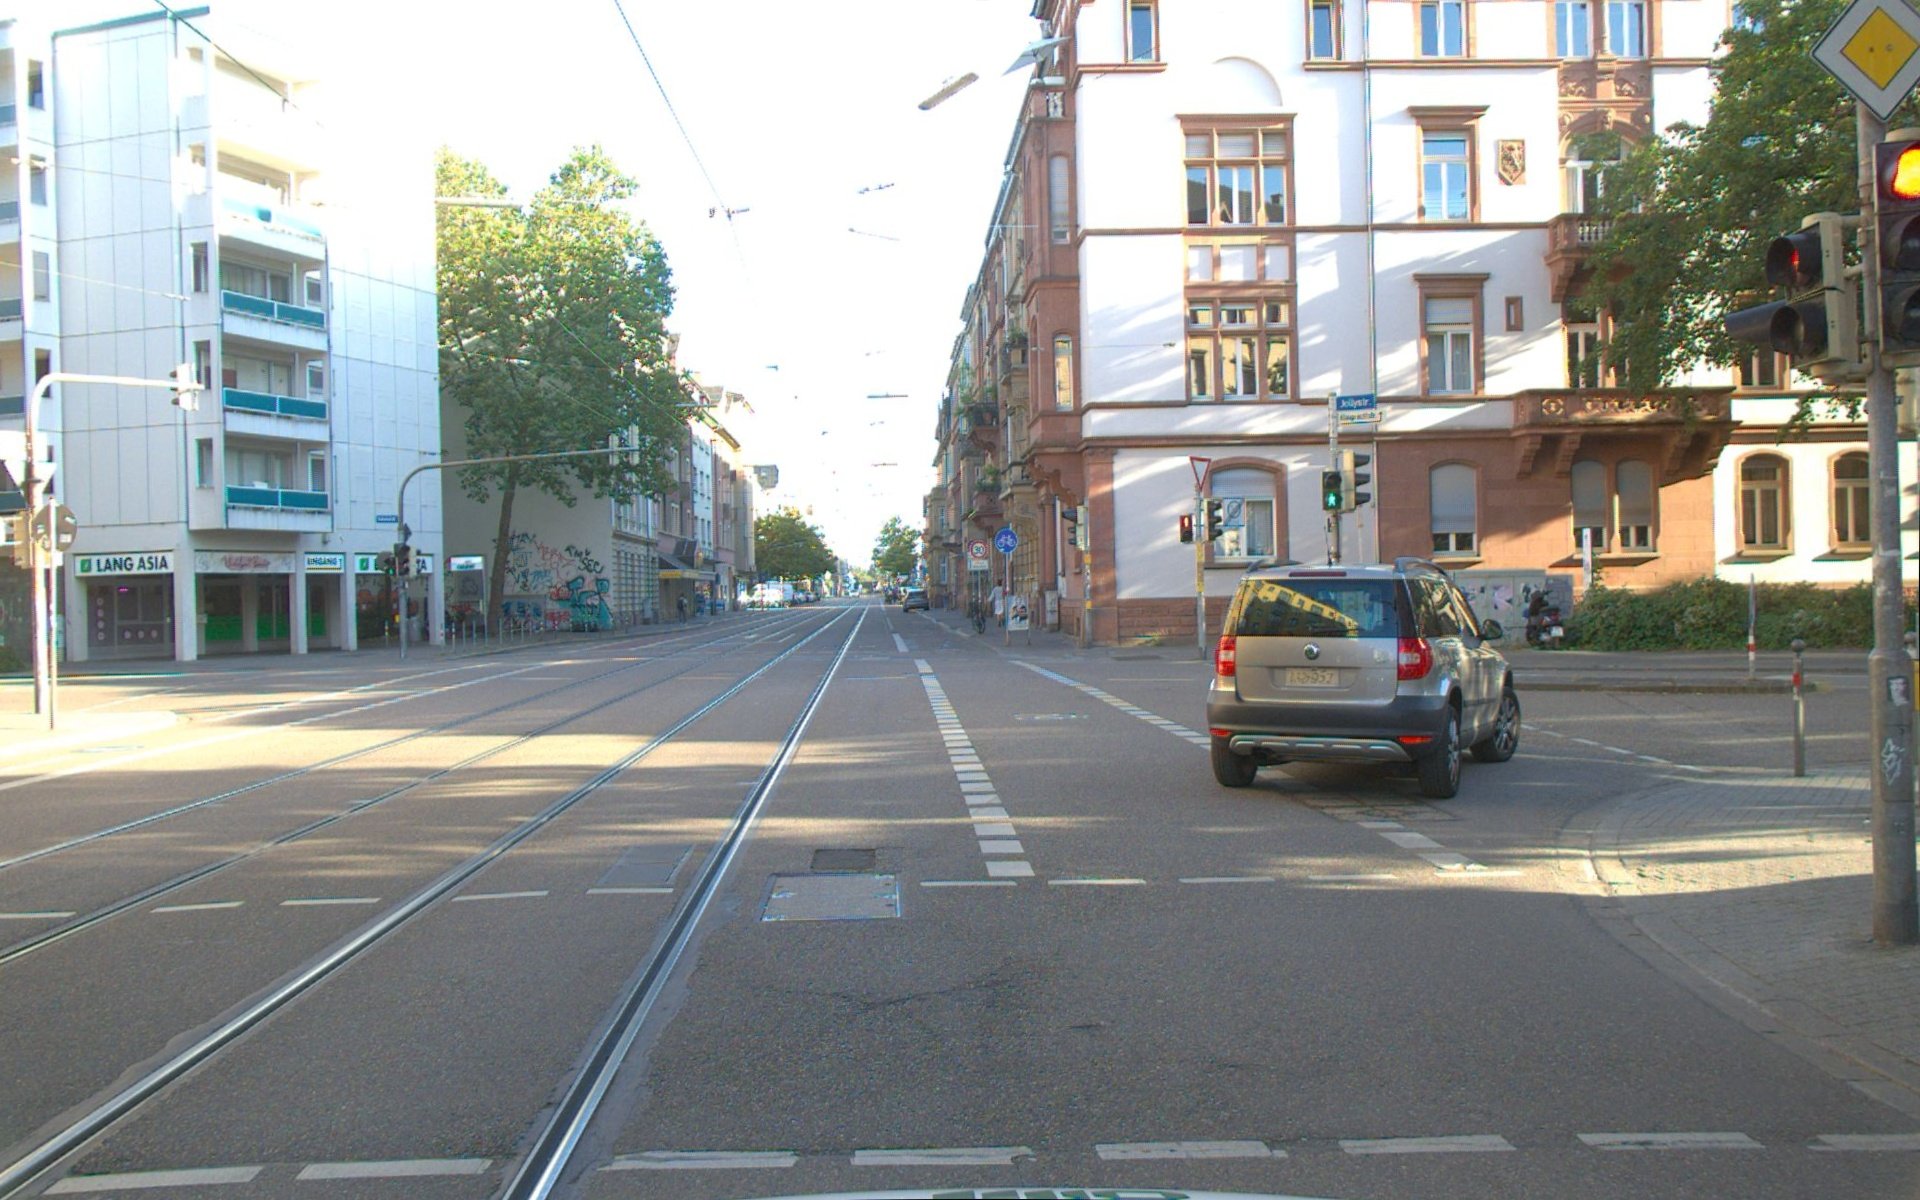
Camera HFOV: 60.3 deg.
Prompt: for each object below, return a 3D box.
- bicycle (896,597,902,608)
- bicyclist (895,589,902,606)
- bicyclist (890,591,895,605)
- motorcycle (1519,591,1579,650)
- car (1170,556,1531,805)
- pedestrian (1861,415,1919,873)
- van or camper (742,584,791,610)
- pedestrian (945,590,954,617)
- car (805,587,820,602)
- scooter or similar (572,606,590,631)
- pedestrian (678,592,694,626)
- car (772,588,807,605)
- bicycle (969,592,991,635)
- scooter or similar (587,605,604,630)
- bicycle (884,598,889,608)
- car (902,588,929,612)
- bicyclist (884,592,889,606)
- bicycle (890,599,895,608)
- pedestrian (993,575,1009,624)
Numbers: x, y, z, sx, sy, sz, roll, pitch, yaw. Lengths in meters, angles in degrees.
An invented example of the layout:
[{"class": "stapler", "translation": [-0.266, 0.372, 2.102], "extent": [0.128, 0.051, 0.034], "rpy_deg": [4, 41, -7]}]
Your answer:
[{"class": "bicycle", "translation": [-5.920, 0.271, 159.775], "extent": [0.563, 1.048, 1.894], "rpy_deg": [-2, 0, -2]}, {"class": "bicyclist", "translation": [-5.936, -0.237, 159.769], "extent": [0.563, 1.581, 0.595], "rpy_deg": [-2, 0, -2]}, {"class": "bicyclist", "translation": [-8.109, -0.269, 198.770], "extent": [0.563, 1.708, 0.795], "rpy_deg": [-2, 0, -2]}, {"class": "motorcycle", "translation": [11.941, 0.393, 33.567], "extent": [0.704, 1.037, 2.289], "rpy_deg": [-2, 2, 9]}, {"class": "car", "translation": [3.259, 0.522, 13.181], "extent": [1.954, 1.646, 3.996], "rpy_deg": [1, 0, 26]}, {"class": "pedestrian", "translation": [4.193, 0.153, 6.438], "extent": [0.790, 1.830, 0.761], "rpy_deg": [-6, 1, -4]}, {"class": "van or camper", "translation": [-20.114, -0.324, 172.049], "extent": [4.594, 2.608, 1.976], "rpy_deg": [-1, 0, -34]}, {"class": "pedestrian", "translation": [-0.698, 0.223, 112.430], "extent": [0.533, 1.811, 0.749], "rpy_deg": [-2, 0, -2]}, {"class": "car", "translation": [-20.860, -0.751, 233.954], "extent": [1.954, 2.049, 3.997], "rpy_deg": [-2, 0, -4]}, {"class": "scooter or similar", "translation": [-16.791, 0.806, 73.272], "extent": [0.506, 1.064, 1.477], "rpy_deg": [-2, 0, -5]}, {"class": "pedestrian", "translation": [-14.438, 0.458, 87.181], "extent": [0.687, 1.758, 0.647], "rpy_deg": [-2, 0, -3]}, {"class": "car", "translation": [-21.384, -0.452, 207.456], "extent": [3.941, 2.049, 1.982], "rpy_deg": [-2, 0, -28]}, {"class": "bicycle", "translation": [0.646, 0.423, 53.672], "extent": [0.640, 1.346, 2.176], "rpy_deg": [-2, 0, 0]}, {"class": "scooter or similar", "translation": [-16.148, 0.787, 73.343], "extent": [0.506, 1.076, 1.477], "rpy_deg": [-2, 0, -5]}, {"class": "bicycle", "translation": [-8.299, 0.310, 186.591], "extent": [0.563, 1.048, 1.894], "rpy_deg": [-2, 0, -2]}, {"class": "car", "translation": [-3.314, -0.010, 122.880], "extent": [1.911, 1.713, 3.999], "rpy_deg": [-2, 0, -2]}, {"class": "bicyclist", "translation": [-8.316, -0.085, 186.585], "extent": [0.563, 1.520, 0.794], "rpy_deg": [-2, 0, -2]}, {"class": "bicycle", "translation": [-8.083, 0.421, 198.787], "extent": [0.563, 1.048, 1.894], "rpy_deg": [-2, 1, -2]}, {"class": "pedestrian", "translation": [1.524, -0.008, 61.676], "extent": [0.533, 1.811, 0.504], "rpy_deg": [-2, 0, -2]}]
